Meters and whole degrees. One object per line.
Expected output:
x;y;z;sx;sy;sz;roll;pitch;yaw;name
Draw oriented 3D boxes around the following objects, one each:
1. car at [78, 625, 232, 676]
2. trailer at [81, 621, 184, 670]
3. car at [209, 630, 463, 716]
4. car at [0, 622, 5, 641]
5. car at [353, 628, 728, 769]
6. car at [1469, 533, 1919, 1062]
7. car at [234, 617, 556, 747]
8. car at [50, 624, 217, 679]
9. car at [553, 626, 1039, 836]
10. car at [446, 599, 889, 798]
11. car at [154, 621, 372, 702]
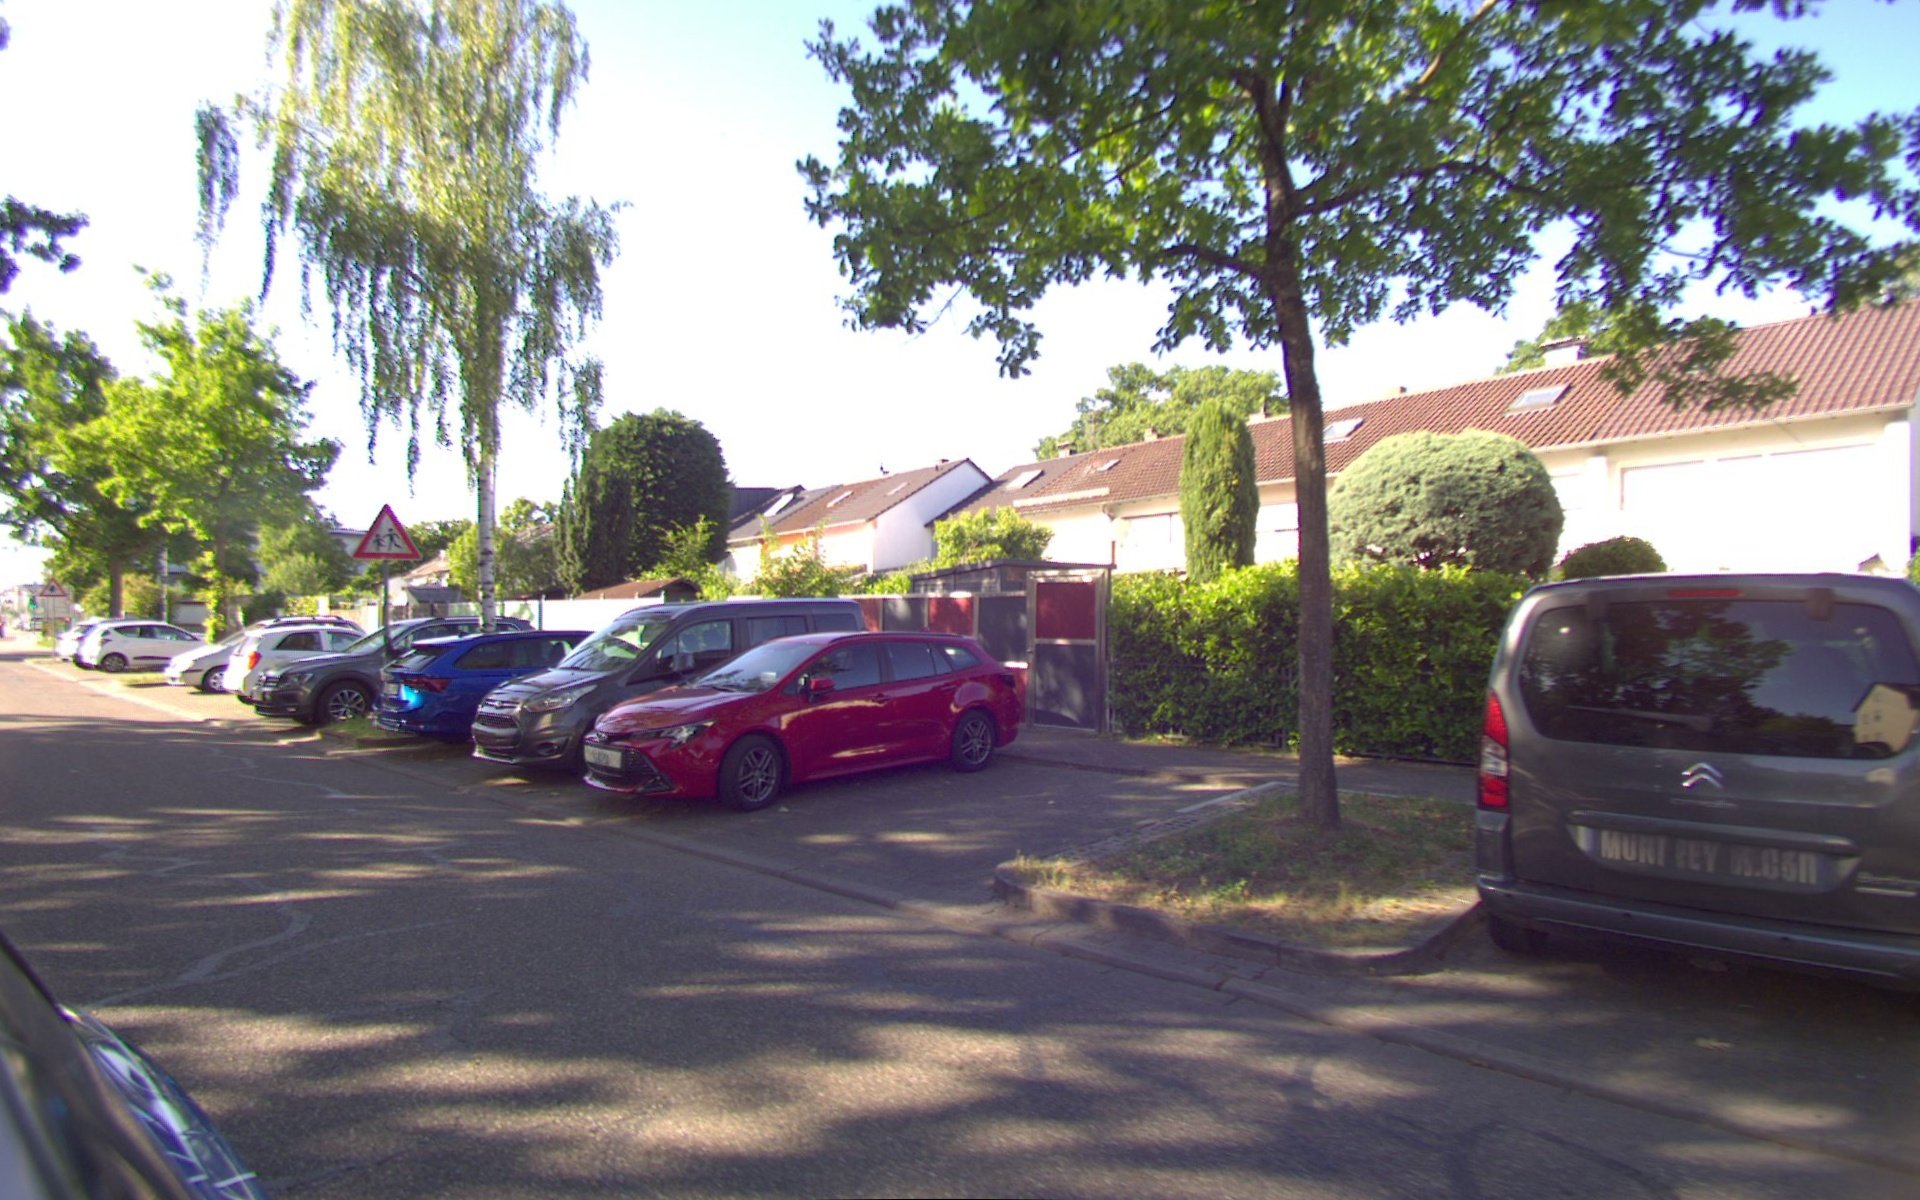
-25.181;1.559;31.725;1.707;1.507;3.478;-1;-3;40;car
-30.502;1.642;37.349;1.298;1.660;2.733;1;0;37;trailer
-12.270;1.356;20.080;1.795;1.526;3.958;-2;-2;43;car
-74.076;2.430;77.087;3.852;1.489;1.741;-2;-1;44;car
-5.304;1.138;13.249;1.723;1.435;4.226;-2;-1;41;car
4.207;0.669;5.314;1.965;1.783;4.198;-1;-1;38;car
-8.885;1.183;16.194;1.760;1.737;4.166;-1;-1;41;car
-27.155;1.648;33.374;1.918;1.586;3.918;0;0;35;car
-1.355;1.029;9.755;1.837;1.511;4.426;-2;-2;44;car
-3.076;0.910;11.532;1.794;1.782;4.626;-2;-1;40;car
-16.101;1.351;23.515;1.706;1.626;3.896;-2;-1;43;car
